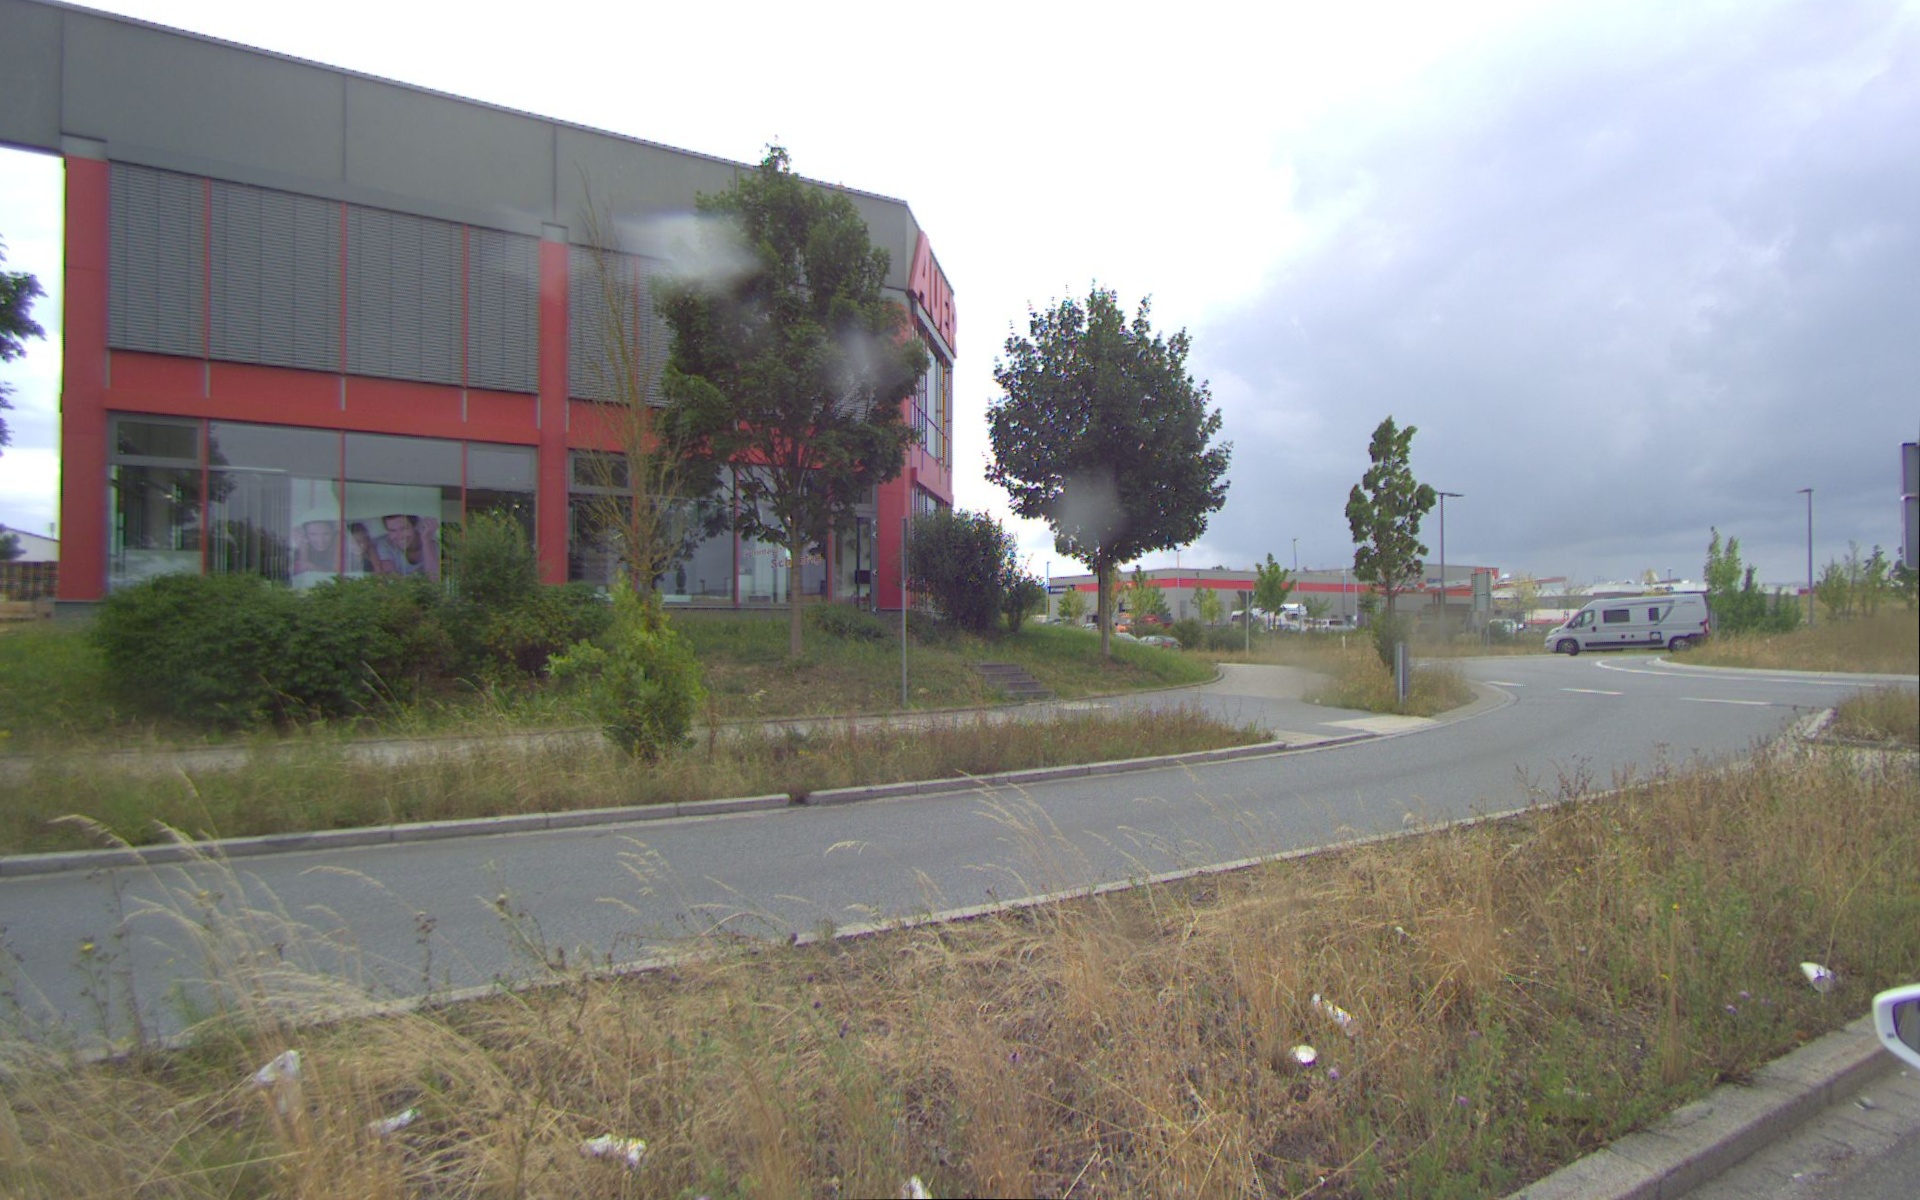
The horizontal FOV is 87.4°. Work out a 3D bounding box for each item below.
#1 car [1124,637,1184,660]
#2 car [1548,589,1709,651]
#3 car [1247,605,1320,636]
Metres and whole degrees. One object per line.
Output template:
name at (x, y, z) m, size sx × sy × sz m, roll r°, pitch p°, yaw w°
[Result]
car at (11.809, 2.939, 61.351) m, size 1.453 × 1.342 × 3.817 m, roll 1°, pitch -2°, yaw -30°
car at (28.817, 0.839, 43.514) m, size 5.616 × 2.419 × 2.274 m, roll 2°, pitch -1°, yaw 34°
car at (31.571, 2.020, 97.860) m, size 7.607 × 2.857 × 2.449 m, roll 2°, pitch -1°, yaw -33°
